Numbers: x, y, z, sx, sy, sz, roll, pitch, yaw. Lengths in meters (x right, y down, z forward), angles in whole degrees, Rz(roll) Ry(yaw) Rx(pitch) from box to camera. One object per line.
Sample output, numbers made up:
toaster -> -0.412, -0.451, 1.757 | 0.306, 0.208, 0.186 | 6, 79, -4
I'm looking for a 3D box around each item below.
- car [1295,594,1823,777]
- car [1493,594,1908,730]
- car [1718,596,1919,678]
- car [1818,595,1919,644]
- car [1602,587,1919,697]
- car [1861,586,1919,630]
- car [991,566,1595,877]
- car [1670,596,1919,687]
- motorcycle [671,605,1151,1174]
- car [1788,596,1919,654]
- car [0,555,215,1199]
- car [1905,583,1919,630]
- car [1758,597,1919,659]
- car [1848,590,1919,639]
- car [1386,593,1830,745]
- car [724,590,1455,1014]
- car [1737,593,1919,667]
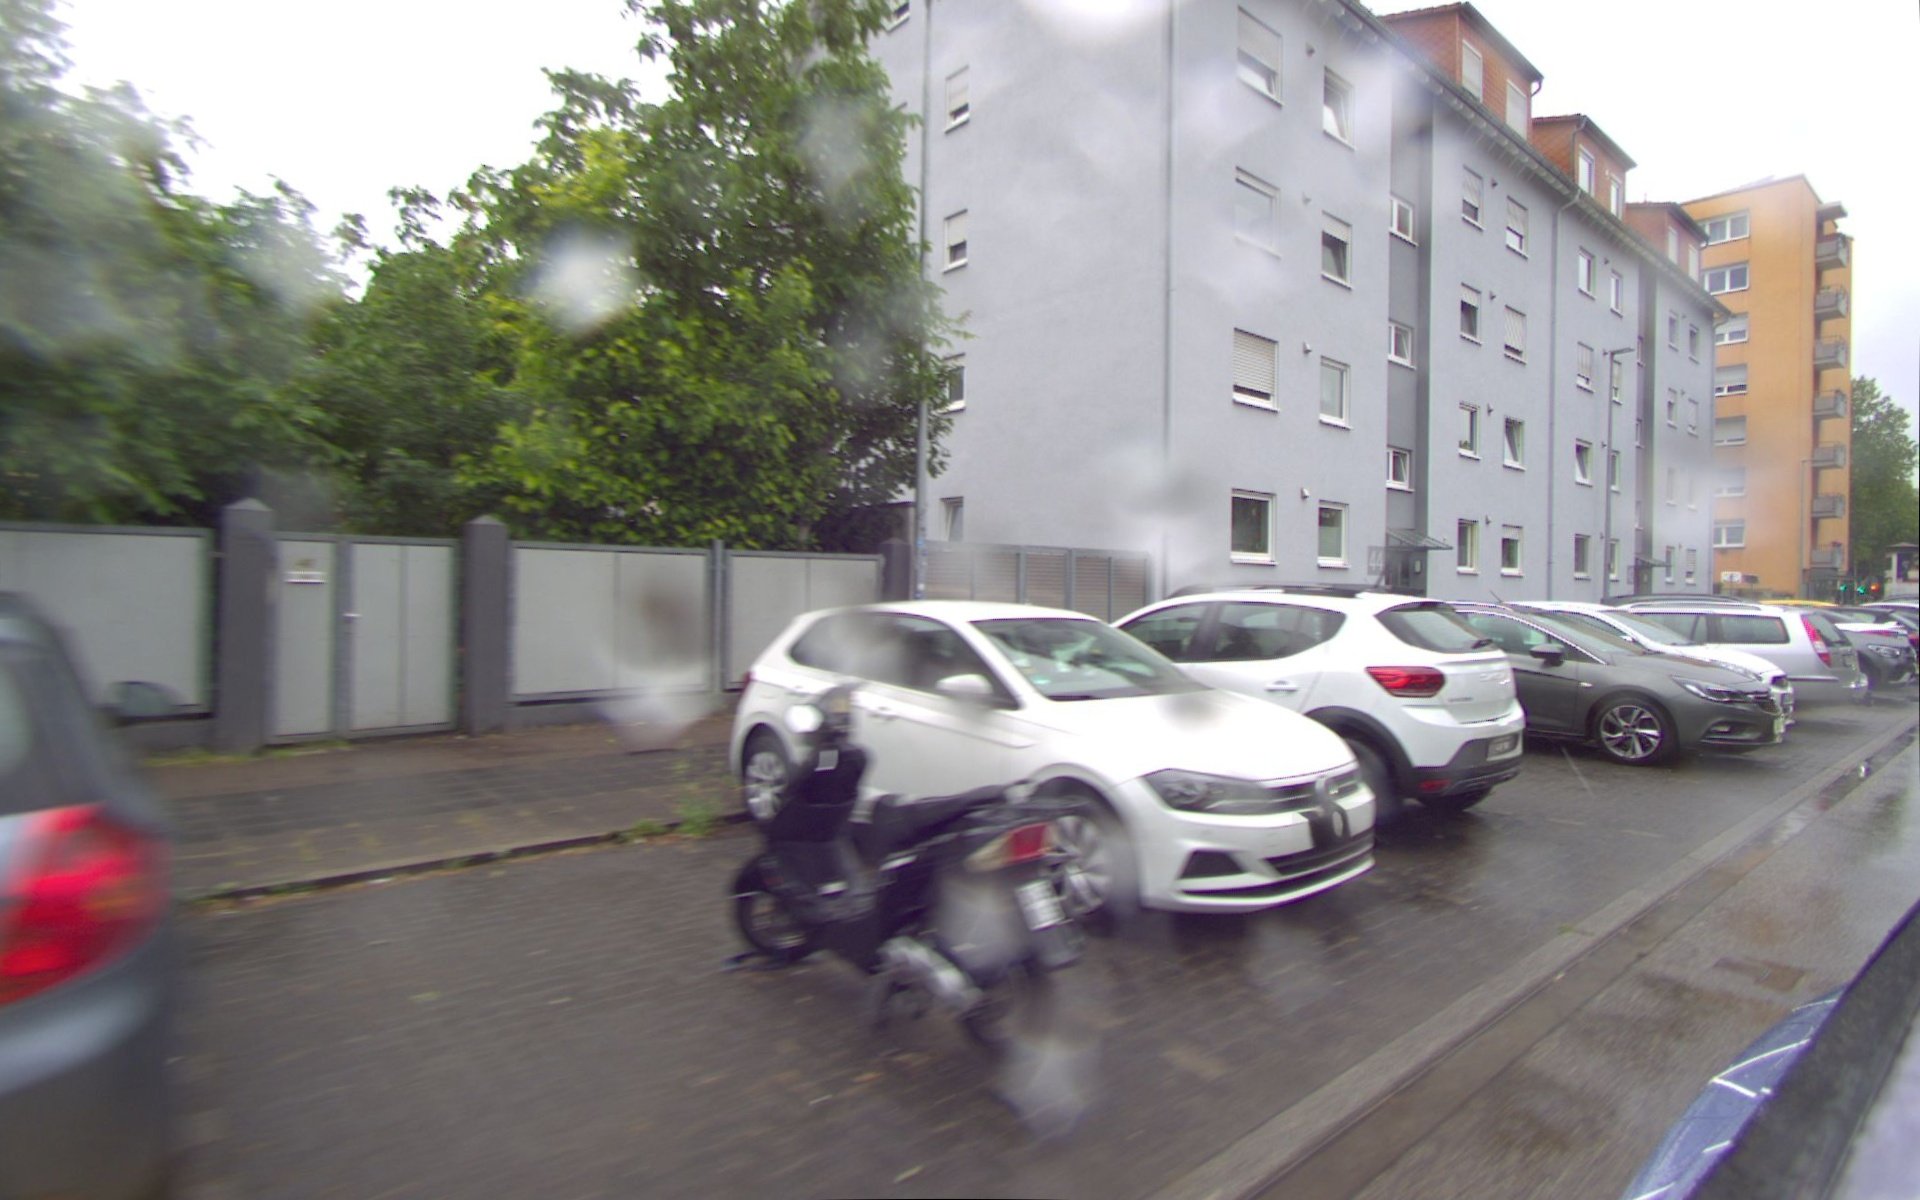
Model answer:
car -> 6.047, 0.691, 10.677 | 2.014, 1.495, 4.386 | 0, 1, -39
car -> 9.570, 0.678, 13.389 | 1.621, 1.495, 4.169 | 0, 0, -39
car -> 17.682, 0.681, 20.401 | 1.514, 1.506, 3.617 | 0, 0, -39
car -> 29.040, 0.578, 30.863 | 1.621, 1.471, 4.169 | 0, 0, -39
car -> 13.270, 0.593, 16.775 | 1.621, 1.589, 4.169 | 0, 0, -39
car -> 36.408, 0.296, 37.621 | 1.621, 1.626, 4.169 | 0, 0, -39
car -> 2.132, 0.623, 7.375 | 1.661, 1.635, 3.922 | 0, 0, -39
car -> 15.569, 0.693, 18.825 | 1.514, 1.506, 3.617 | 0, 0, -39
motorcycle -> -0.273, 0.723, 3.432 | 0.721, 1.390, 1.766 | 0, 0, -39
car -> 25.261, 0.650, 27.420 | 1.621, 1.471, 4.169 | 0, 0, -39
car -> -3.337, 0.639, 2.689 | 1.899, 1.473, 4.061 | 2, -1, -40
car -> 43.017, 0.291, 42.976 | 1.964, 2.039, 3.996 | 0, 0, -39
car -> 23.163, 0.668, 25.810 | 1.621, 1.471, 4.169 | 0, 0, -39
car -> 32.695, 0.469, 33.937 | 1.621, 1.626, 4.169 | 0, 0, -39
car -> 7.614, 0.670, 12.235 | 1.886, 1.495, 4.169 | 0, 1, -39
car -> 0.391, 0.700, 5.699 | 1.824, 1.499, 3.922 | 0, 0, -39
car -> 19.530, 0.602, 22.264 | 1.514, 1.506, 3.617 | 0, 0, -39
